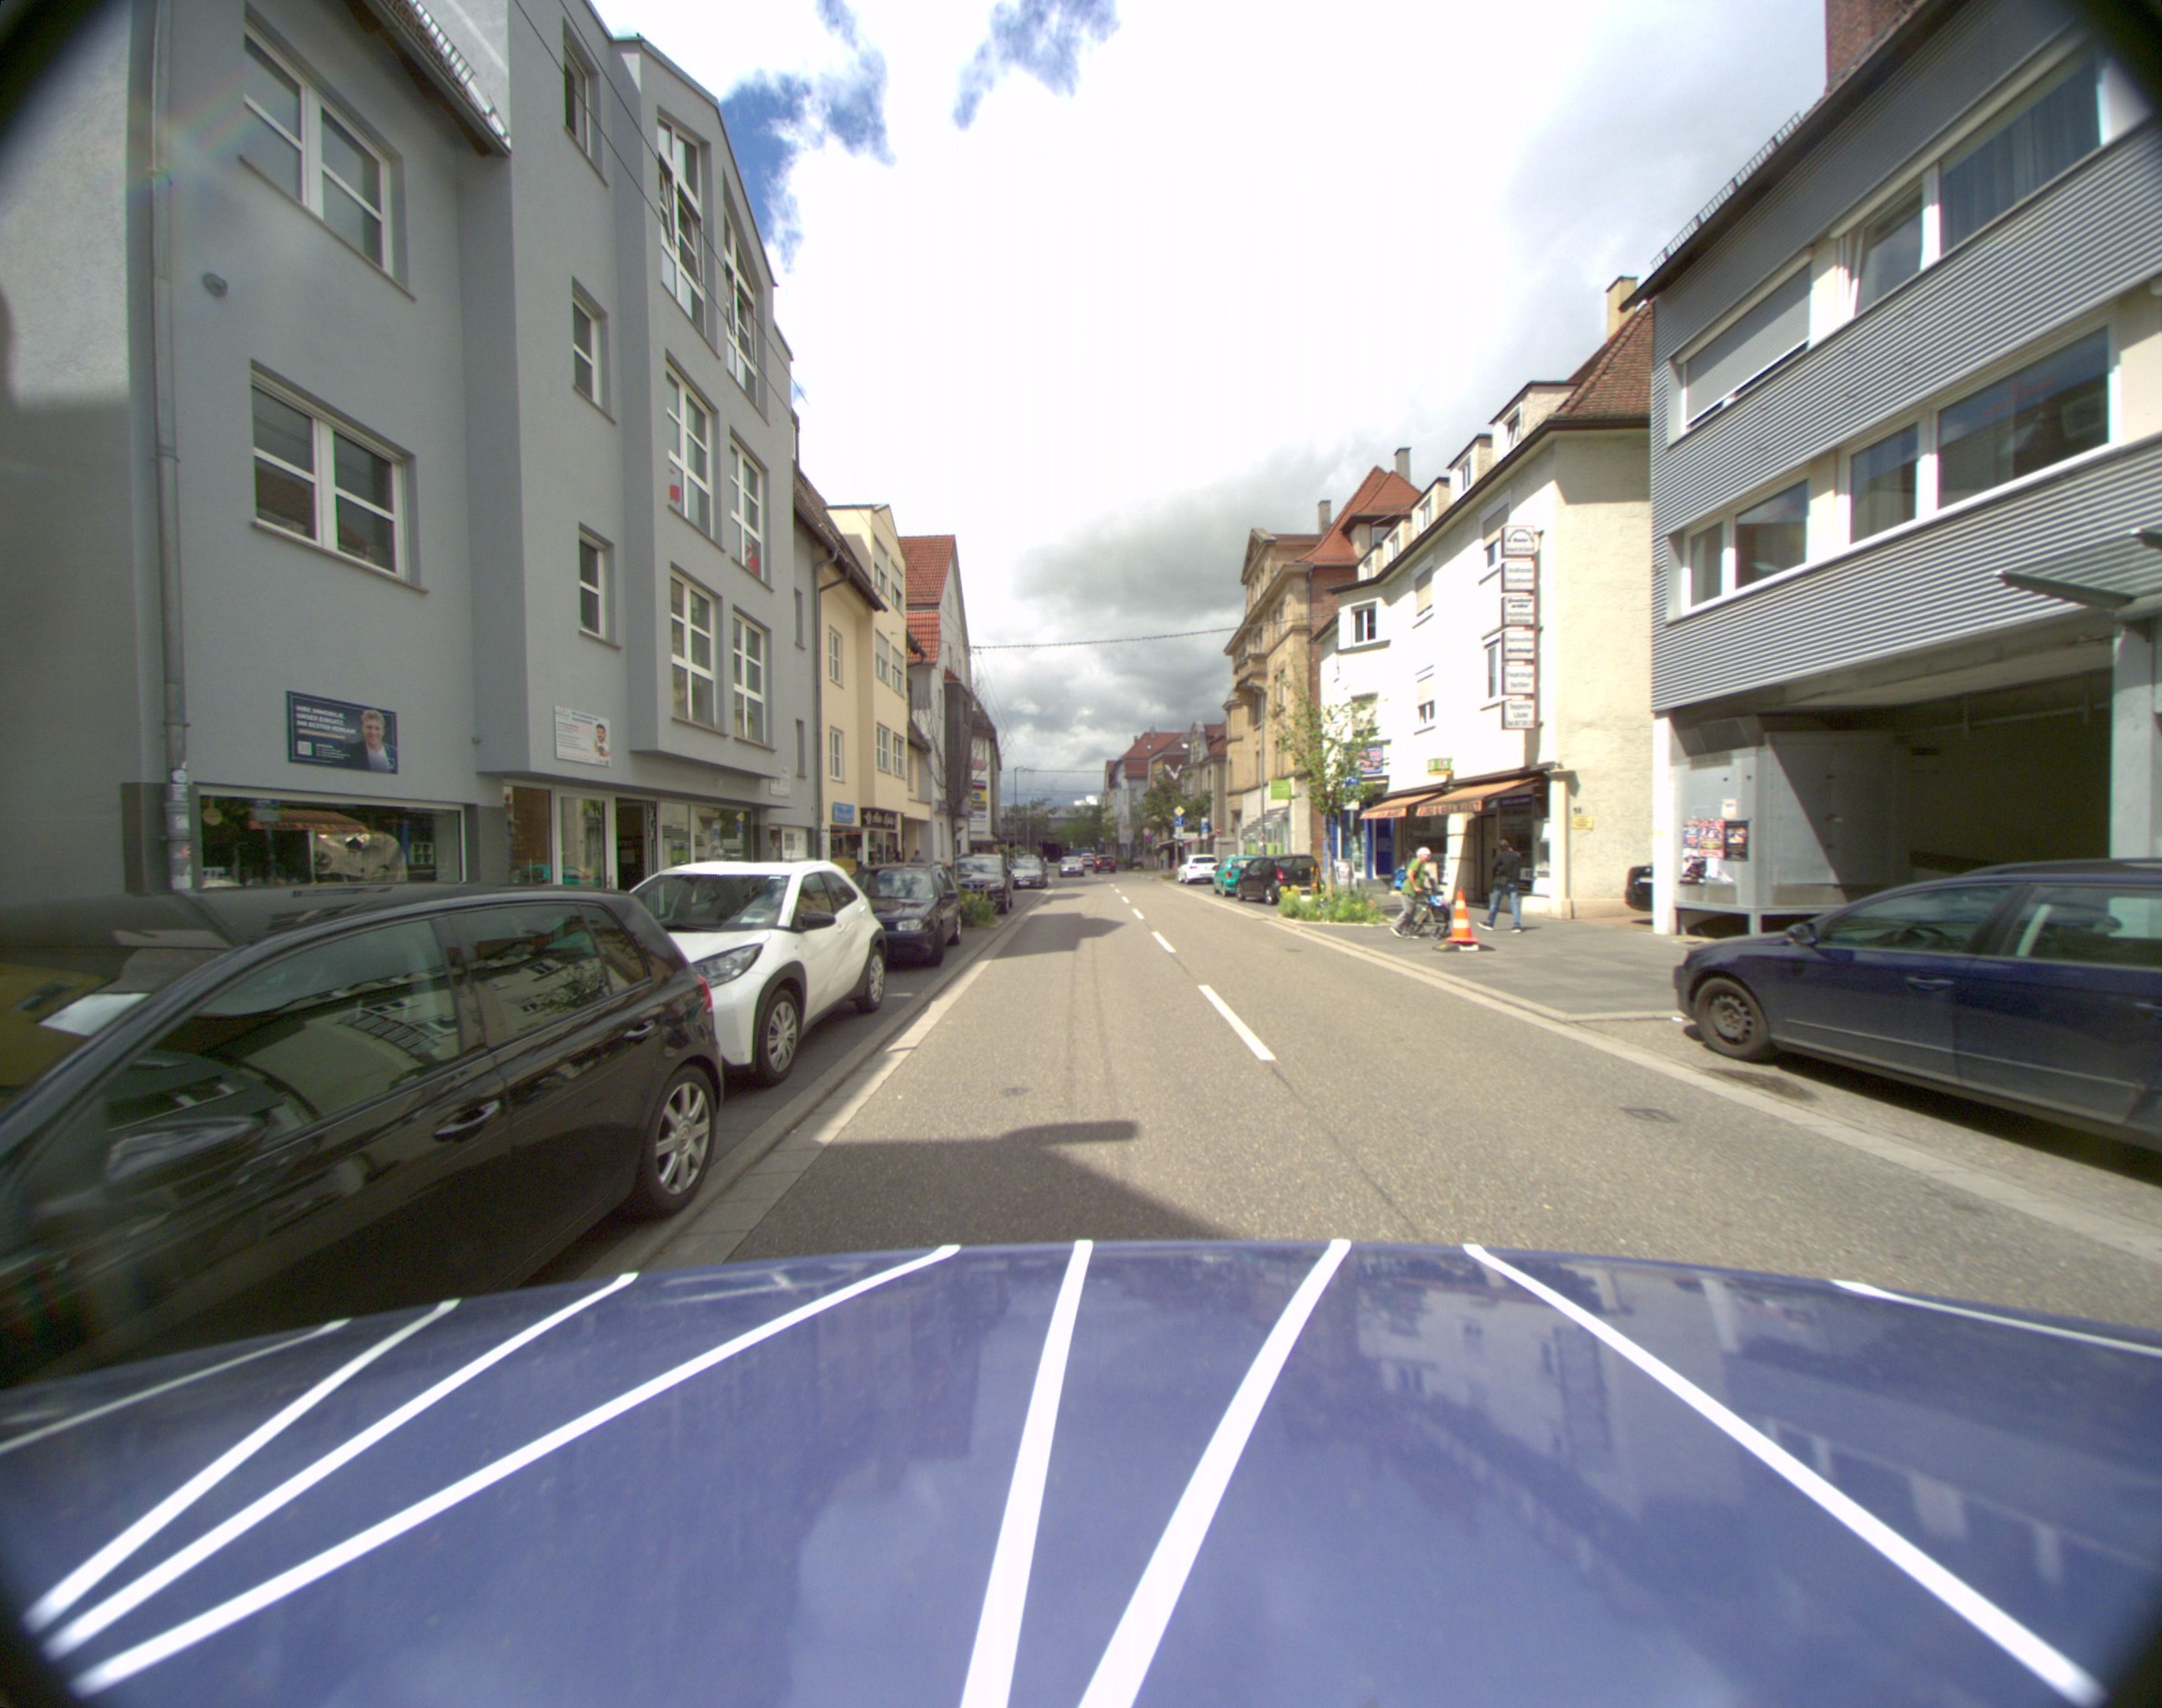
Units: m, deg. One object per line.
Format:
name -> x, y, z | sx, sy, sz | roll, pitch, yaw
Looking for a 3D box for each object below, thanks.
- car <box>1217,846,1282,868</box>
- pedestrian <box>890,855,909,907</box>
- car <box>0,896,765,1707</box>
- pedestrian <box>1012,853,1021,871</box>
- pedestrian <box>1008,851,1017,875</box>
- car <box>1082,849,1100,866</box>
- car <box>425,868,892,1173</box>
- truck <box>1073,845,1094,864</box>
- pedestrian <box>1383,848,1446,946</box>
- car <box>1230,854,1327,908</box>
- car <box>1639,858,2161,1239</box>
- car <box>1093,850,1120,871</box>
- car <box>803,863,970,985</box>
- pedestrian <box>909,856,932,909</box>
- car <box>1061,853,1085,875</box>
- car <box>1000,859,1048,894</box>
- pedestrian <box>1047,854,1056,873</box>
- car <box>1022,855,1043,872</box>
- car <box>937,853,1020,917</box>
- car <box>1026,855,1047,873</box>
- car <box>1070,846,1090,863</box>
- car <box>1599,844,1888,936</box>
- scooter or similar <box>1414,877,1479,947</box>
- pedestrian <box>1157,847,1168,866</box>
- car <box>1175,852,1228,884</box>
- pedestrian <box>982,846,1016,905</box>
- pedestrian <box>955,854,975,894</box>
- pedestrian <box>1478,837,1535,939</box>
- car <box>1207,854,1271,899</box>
car -> 12.968, 0.199, 58.517 | 4.391, 1.373, 1.996 | -4, 1, -20
pedestrian -> -6.092, 0.890, 25.489 | 0.437, 1.708, 0.537 | -3, 2, -2
car -> -2.560, 0.956, 1.948 | 1.694, 1.463, 4.523 | -3, -1, -2
pedestrian -> -5.597, 0.720, 66.063 | 0.661, 1.553, 0.477 | -3, 2, -3
pedestrian -> -5.052, 0.649, 55.811 | 0.572, 1.693, 0.481 | -3, 2, -7
car -> 1.069, 0.374, 80.567 | 1.792, 1.630, 4.115 | -2, 1, 1
car -> -2.891, 0.996, 6.259 | 1.693, 1.565, 3.755 | -2, 1, 0
truck -> 0.260, 0.027, 94.994 | 2.112, 2.292, 6.472 | -3, 1, -4
pedestrian -> 5.732, 0.721, 13.099 | 0.733, 1.609, 0.651 | -3, 2, -4
car -> 5.857, 0.759, 22.963 | 1.602, 1.437, 3.555 | -3, 0, -7
car -> 5.506, 0.849, 3.945 | 1.794, 1.504, 4.712 | -2, 1, 1
car -> 2.055, 0.520, 61.846 | 1.537, 1.521, 3.755 | -3, 1, -8
car -> -2.818, 0.933, 11.937 | 1.694, 1.432, 4.294 | 1, 1, -3
pedestrian -> -5.338, 0.944, 25.283 | 0.537, 1.708, 0.606 | -2, 2, -1
car -> -0.585, 0.722, 56.259 | 1.724, 1.517, 3.597 | -1, 0, -1
car -> -2.686, 1.019, 36.741 | 1.711, 1.412, 4.318 | -2, 1, 3
pedestrian -> -2.571, 0.803, 66.368 | 0.584, 1.591, 0.549 | -2, 2, 17
car -> -4.852, 0.923, 77.072 | 1.825, 1.652, 4.466 | 1, 0, 0
car -> -2.755, 0.774, 21.301 | 1.804, 1.594, 4.203 | 1, 0, -1
car -> -3.825, 0.857, 65.812 | 1.719, 1.445, 4.550 | -1, 0, -3
car -> -0.218, 0.008, 123.780 | 2.310, 2.657, 7.263 | -3, 1, -8
car -> 11.930, 0.606, 13.856 | 3.830, 1.402, 1.656 | -2, 1, 0
scooter or similar -> 6.266, 0.985, 13.051 | 0.784, 1.119, 0.630 | -3, 1, -4
pedestrian -> 7.953, 0.224, 74.066 | 0.801, 1.746, 0.812 | -3, 2, -6
car -> 6.014, 0.644, 38.314 | 1.850, 1.390, 4.035 | -3, 1, -2
pedestrian -> -2.631, 0.684, 24.375 | 0.978, 1.853, 0.864 | 1, 1, -1
pedestrian -> -5.080, 0.854, 33.182 | 0.745, 1.708, 0.655 | -1, 2, -1
pedestrian -> 7.565, 0.579, 13.540 | 0.549, 1.747, 0.728 | -3, 2, -3
car -> 5.671, 0.760, 27.643 | 1.590, 1.406, 3.668 | -2, 1, 2
